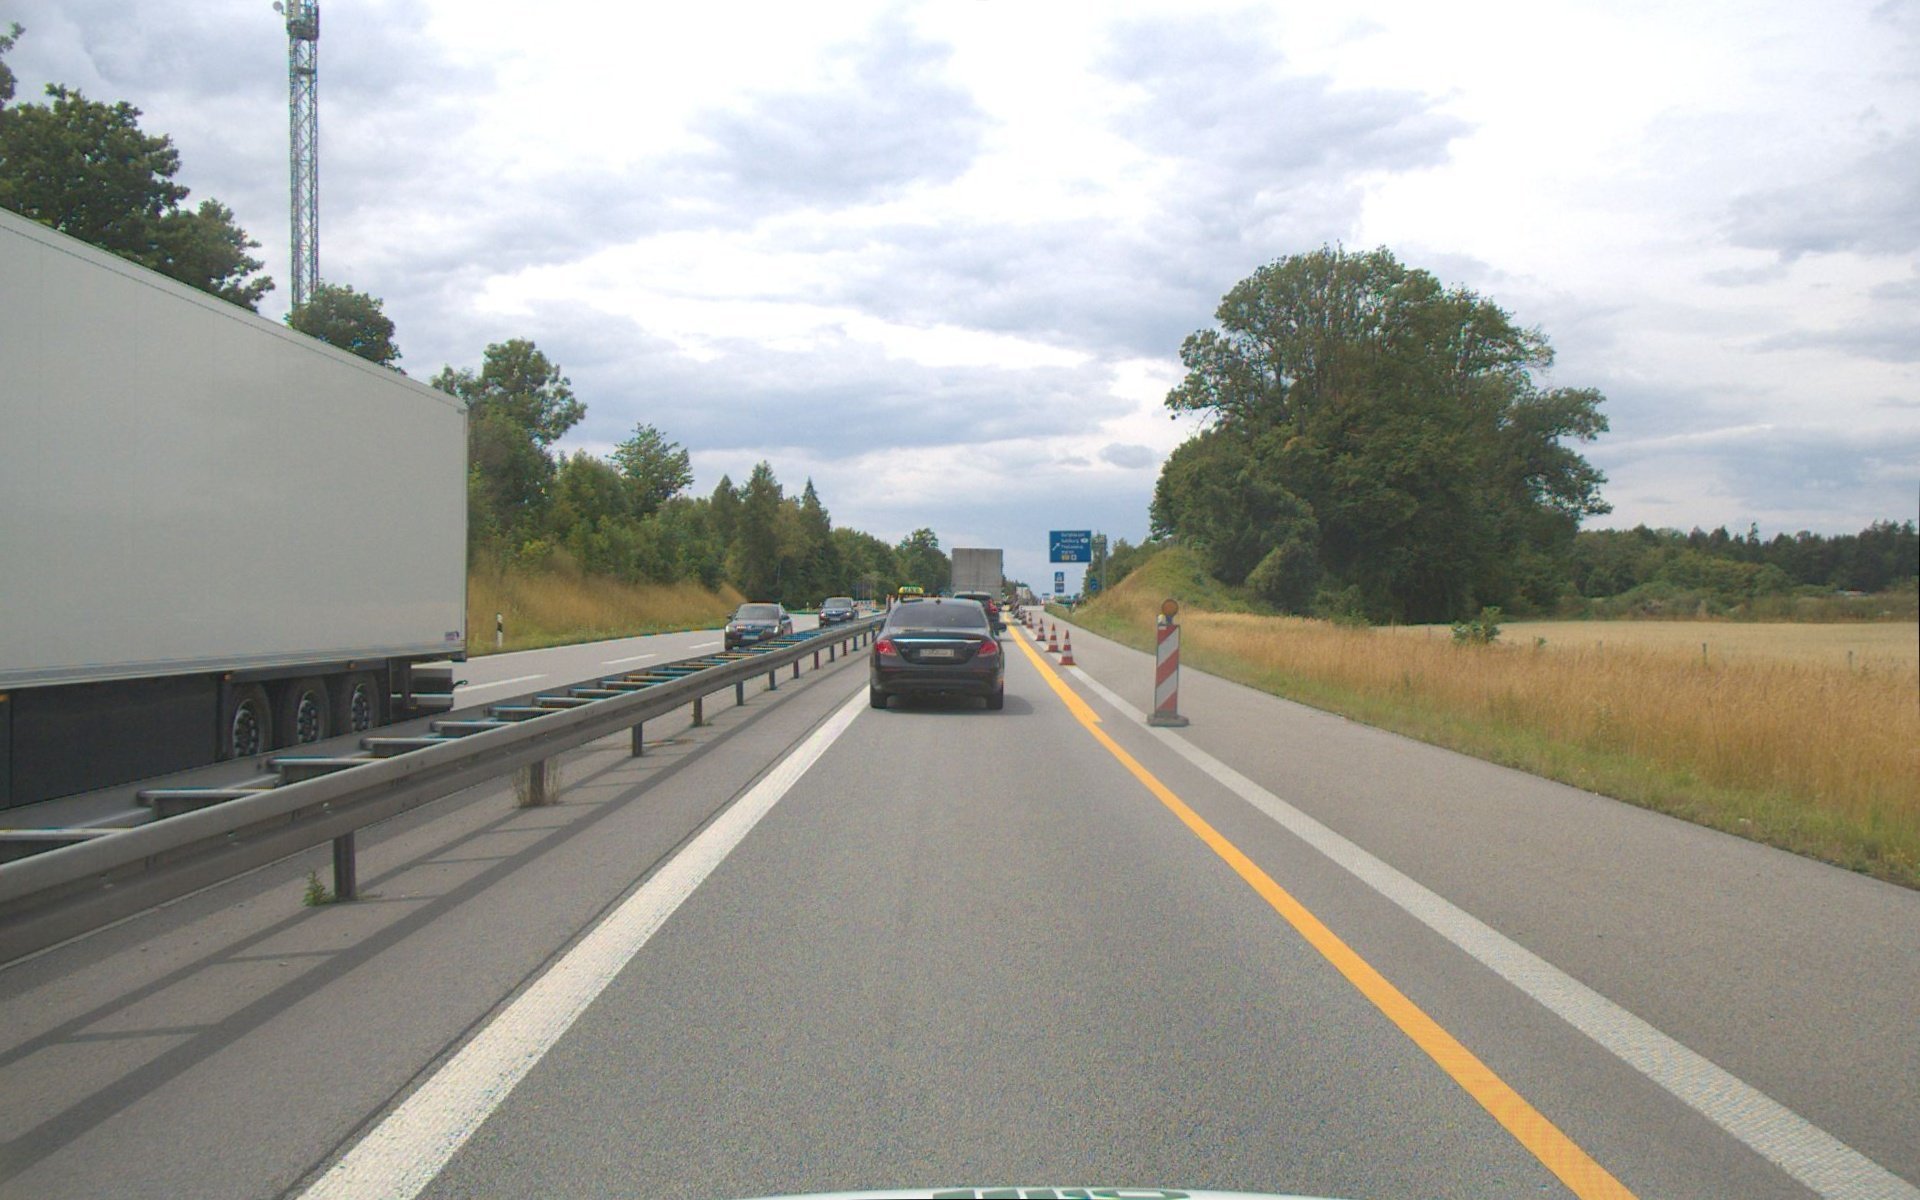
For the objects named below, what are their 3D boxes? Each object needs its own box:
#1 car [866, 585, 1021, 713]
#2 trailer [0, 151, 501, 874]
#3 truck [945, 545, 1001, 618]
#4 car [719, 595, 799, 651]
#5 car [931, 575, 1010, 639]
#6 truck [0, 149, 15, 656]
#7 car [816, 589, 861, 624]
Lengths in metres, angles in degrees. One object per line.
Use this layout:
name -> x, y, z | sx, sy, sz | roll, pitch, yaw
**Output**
car -> -0.140, 0.653, 23.061 | 1.758, 1.587, 4.002 | 1, -1, 5
trailer -> -6.916, -0.476, 13.843 | 2.585, 4.243, 12.187 | 1, -1, 0
truck -> 0.640, -0.884, 84.036 | 2.535, 3.586, 4.810 | 1, -1, -3
car -> -6.196, 0.709, 51.386 | 1.953, 1.646, 3.999 | 1, -1, 0
car -> 0.314, 0.256, 56.387 | 1.957, 2.049, 3.990 | 1, -1, -10
truck -> -6.933, -0.571, 6.232 | 2.585, 4.243, 6.985 | 1, -1, 0
car -> -6.094, 0.336, 83.111 | 1.953, 1.646, 3.999 | 1, -1, 0
